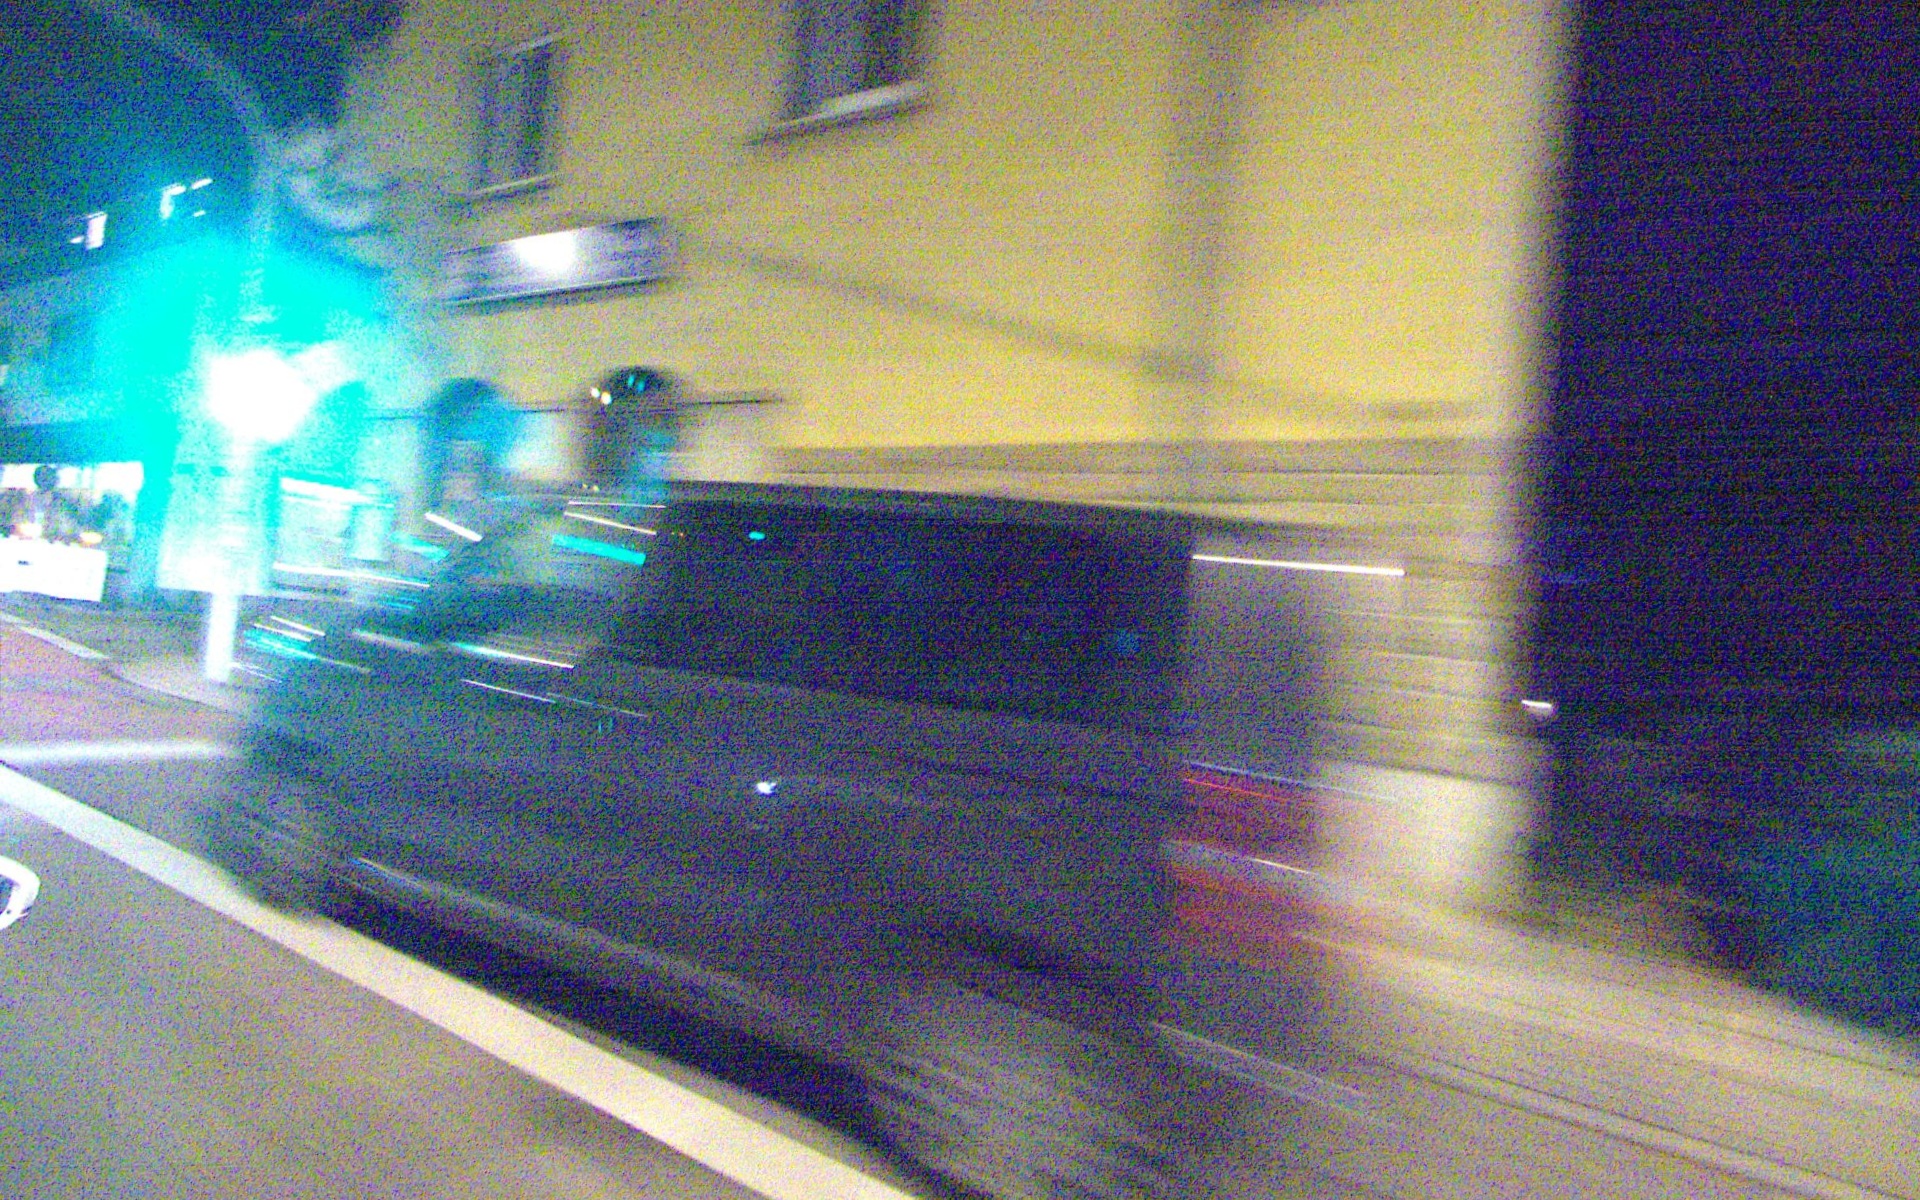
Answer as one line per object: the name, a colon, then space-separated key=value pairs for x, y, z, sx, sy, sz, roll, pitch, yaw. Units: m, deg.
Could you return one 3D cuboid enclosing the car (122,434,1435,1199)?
car: x=-0.887 y=0.535 z=4.004 sx=4.815 sy=1.848 sz=1.916 roll=6 pitch=-1 yaw=27
